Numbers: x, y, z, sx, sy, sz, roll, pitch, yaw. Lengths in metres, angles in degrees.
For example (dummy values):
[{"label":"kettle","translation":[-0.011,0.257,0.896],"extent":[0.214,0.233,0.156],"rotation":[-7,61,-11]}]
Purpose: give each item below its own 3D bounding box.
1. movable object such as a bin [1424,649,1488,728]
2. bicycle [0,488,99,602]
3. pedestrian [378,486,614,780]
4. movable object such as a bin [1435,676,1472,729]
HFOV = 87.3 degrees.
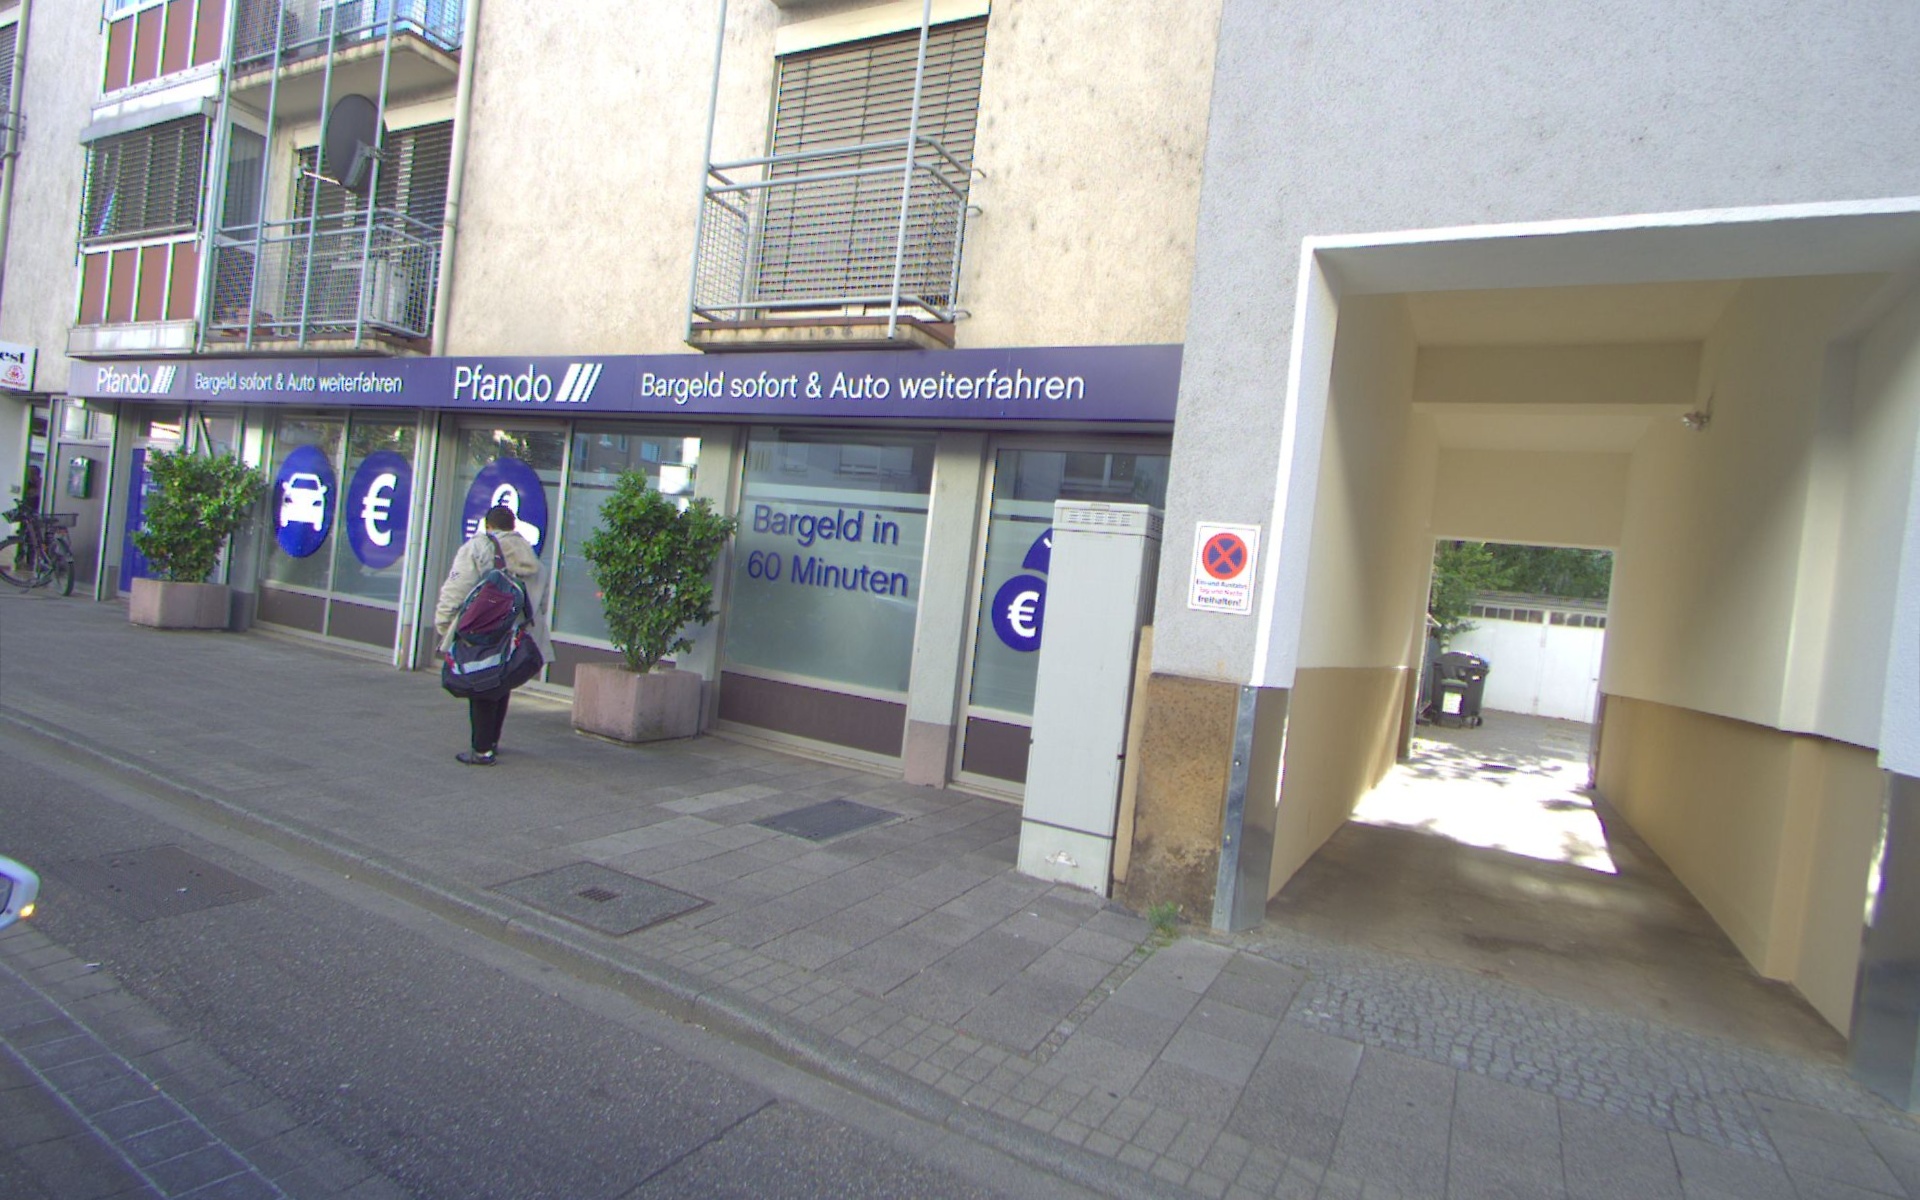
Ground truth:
[{"label":"movable object such as a bin","translation":[10.103,1.779,20.463],"extent":[0.945,1.426,1.598],"rotation":[7,1,29]},{"label":"bicycle","translation":[-11.852,-0.733,12.883],"extent":[1.879,1.280,0.640],"rotation":[7,1,32]},{"label":"pedestrian","translation":[-2.825,0.178,6.161],"extent":[0.853,1.593,0.874],"rotation":[8,3,29]},{"label":"movable object such as a bin","translation":[9.552,1.972,19.459],"extent":[0.518,0.922,0.580],"rotation":[7,1,29]}]
